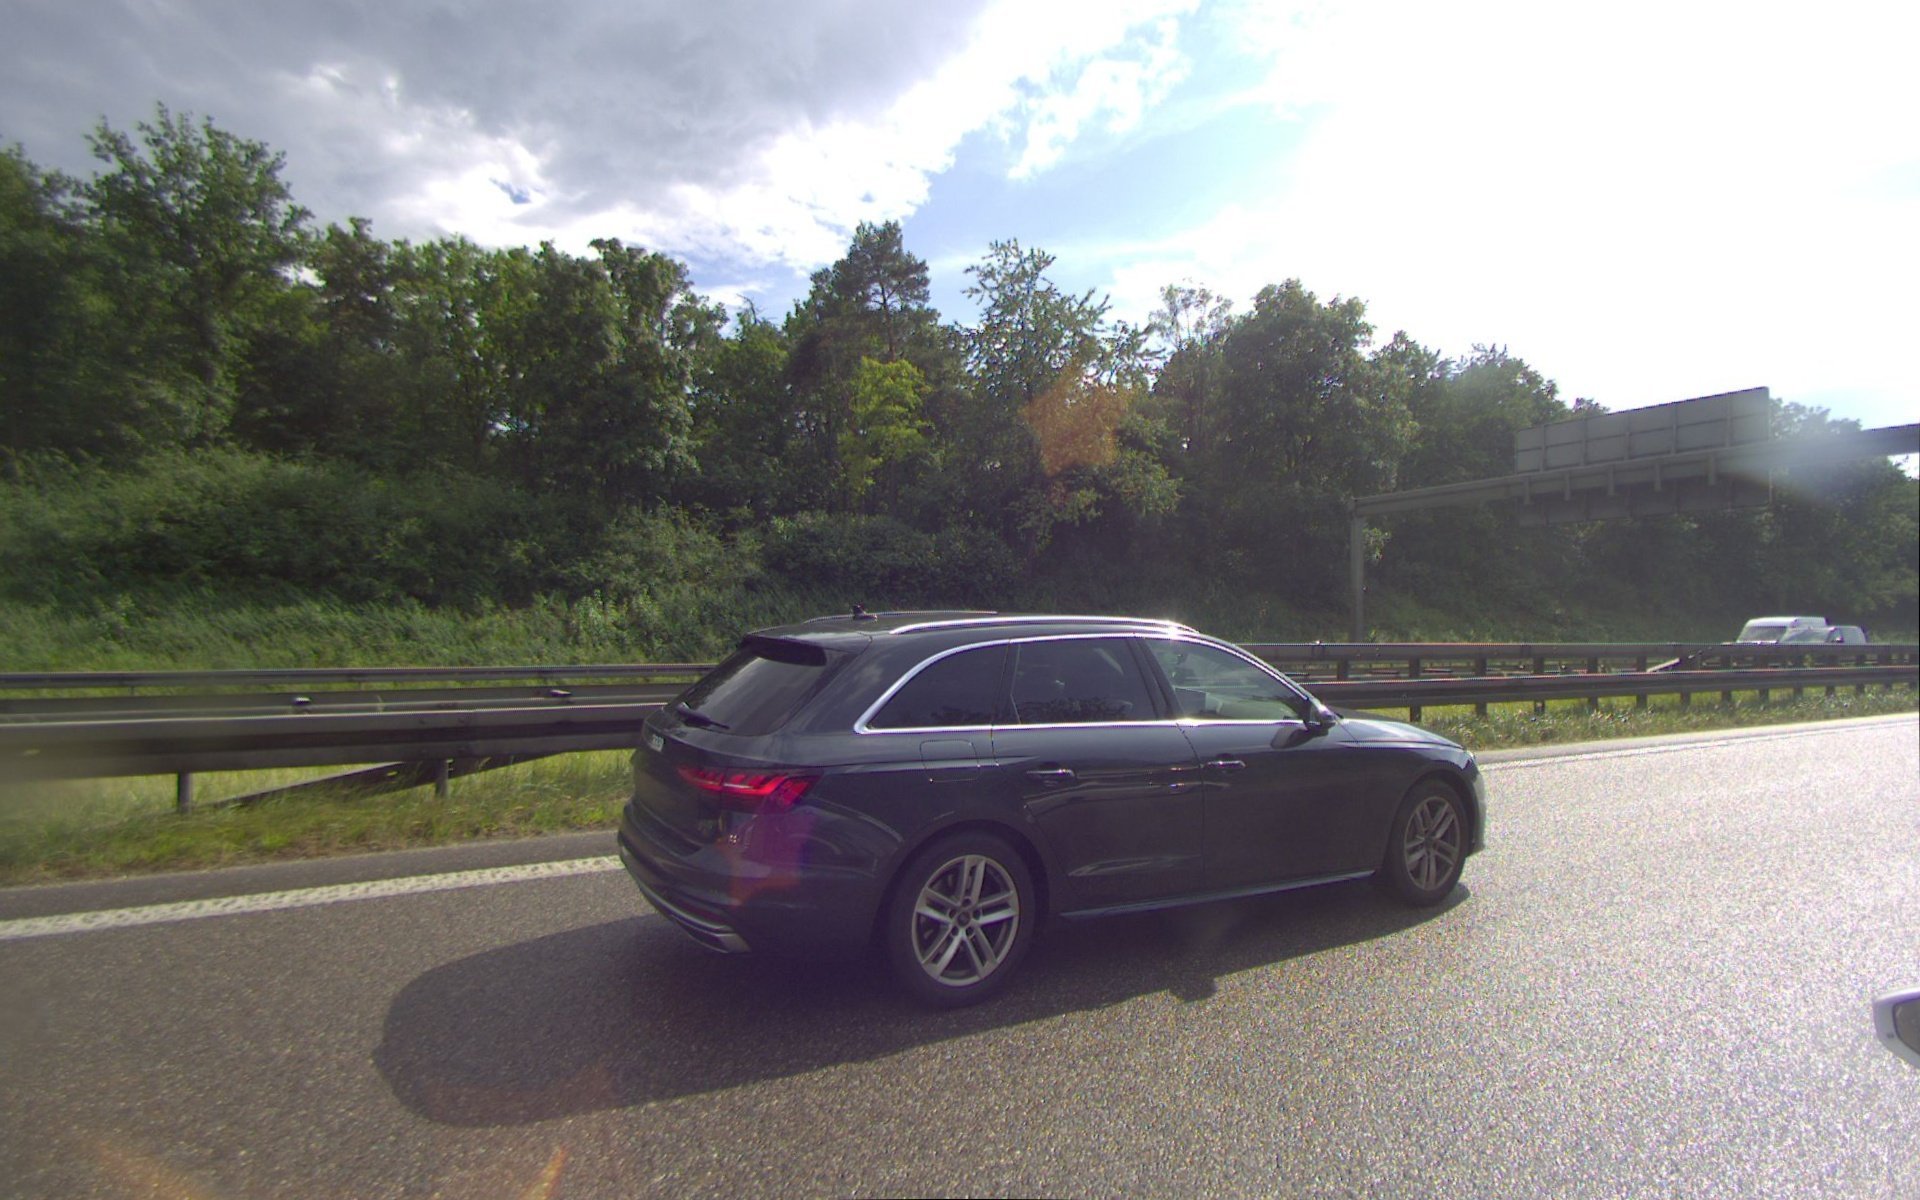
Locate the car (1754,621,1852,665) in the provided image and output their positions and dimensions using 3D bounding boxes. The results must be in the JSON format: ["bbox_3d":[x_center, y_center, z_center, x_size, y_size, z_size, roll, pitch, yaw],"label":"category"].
[{"bbox_3d":[33.610,1.703,40.021,3.953,1.656,1.739,2,0,-30],"label":"car"}]

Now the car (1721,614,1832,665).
[{"bbox_3d":[38.766,1.866,47.624,5.909,2.279,2.134,2,0,-30],"label":"car"}]

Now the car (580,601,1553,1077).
[{"bbox_3d":[0.763,0.786,5.075,4.783,1.437,1.785,2,0,-31],"label":"car"}]
